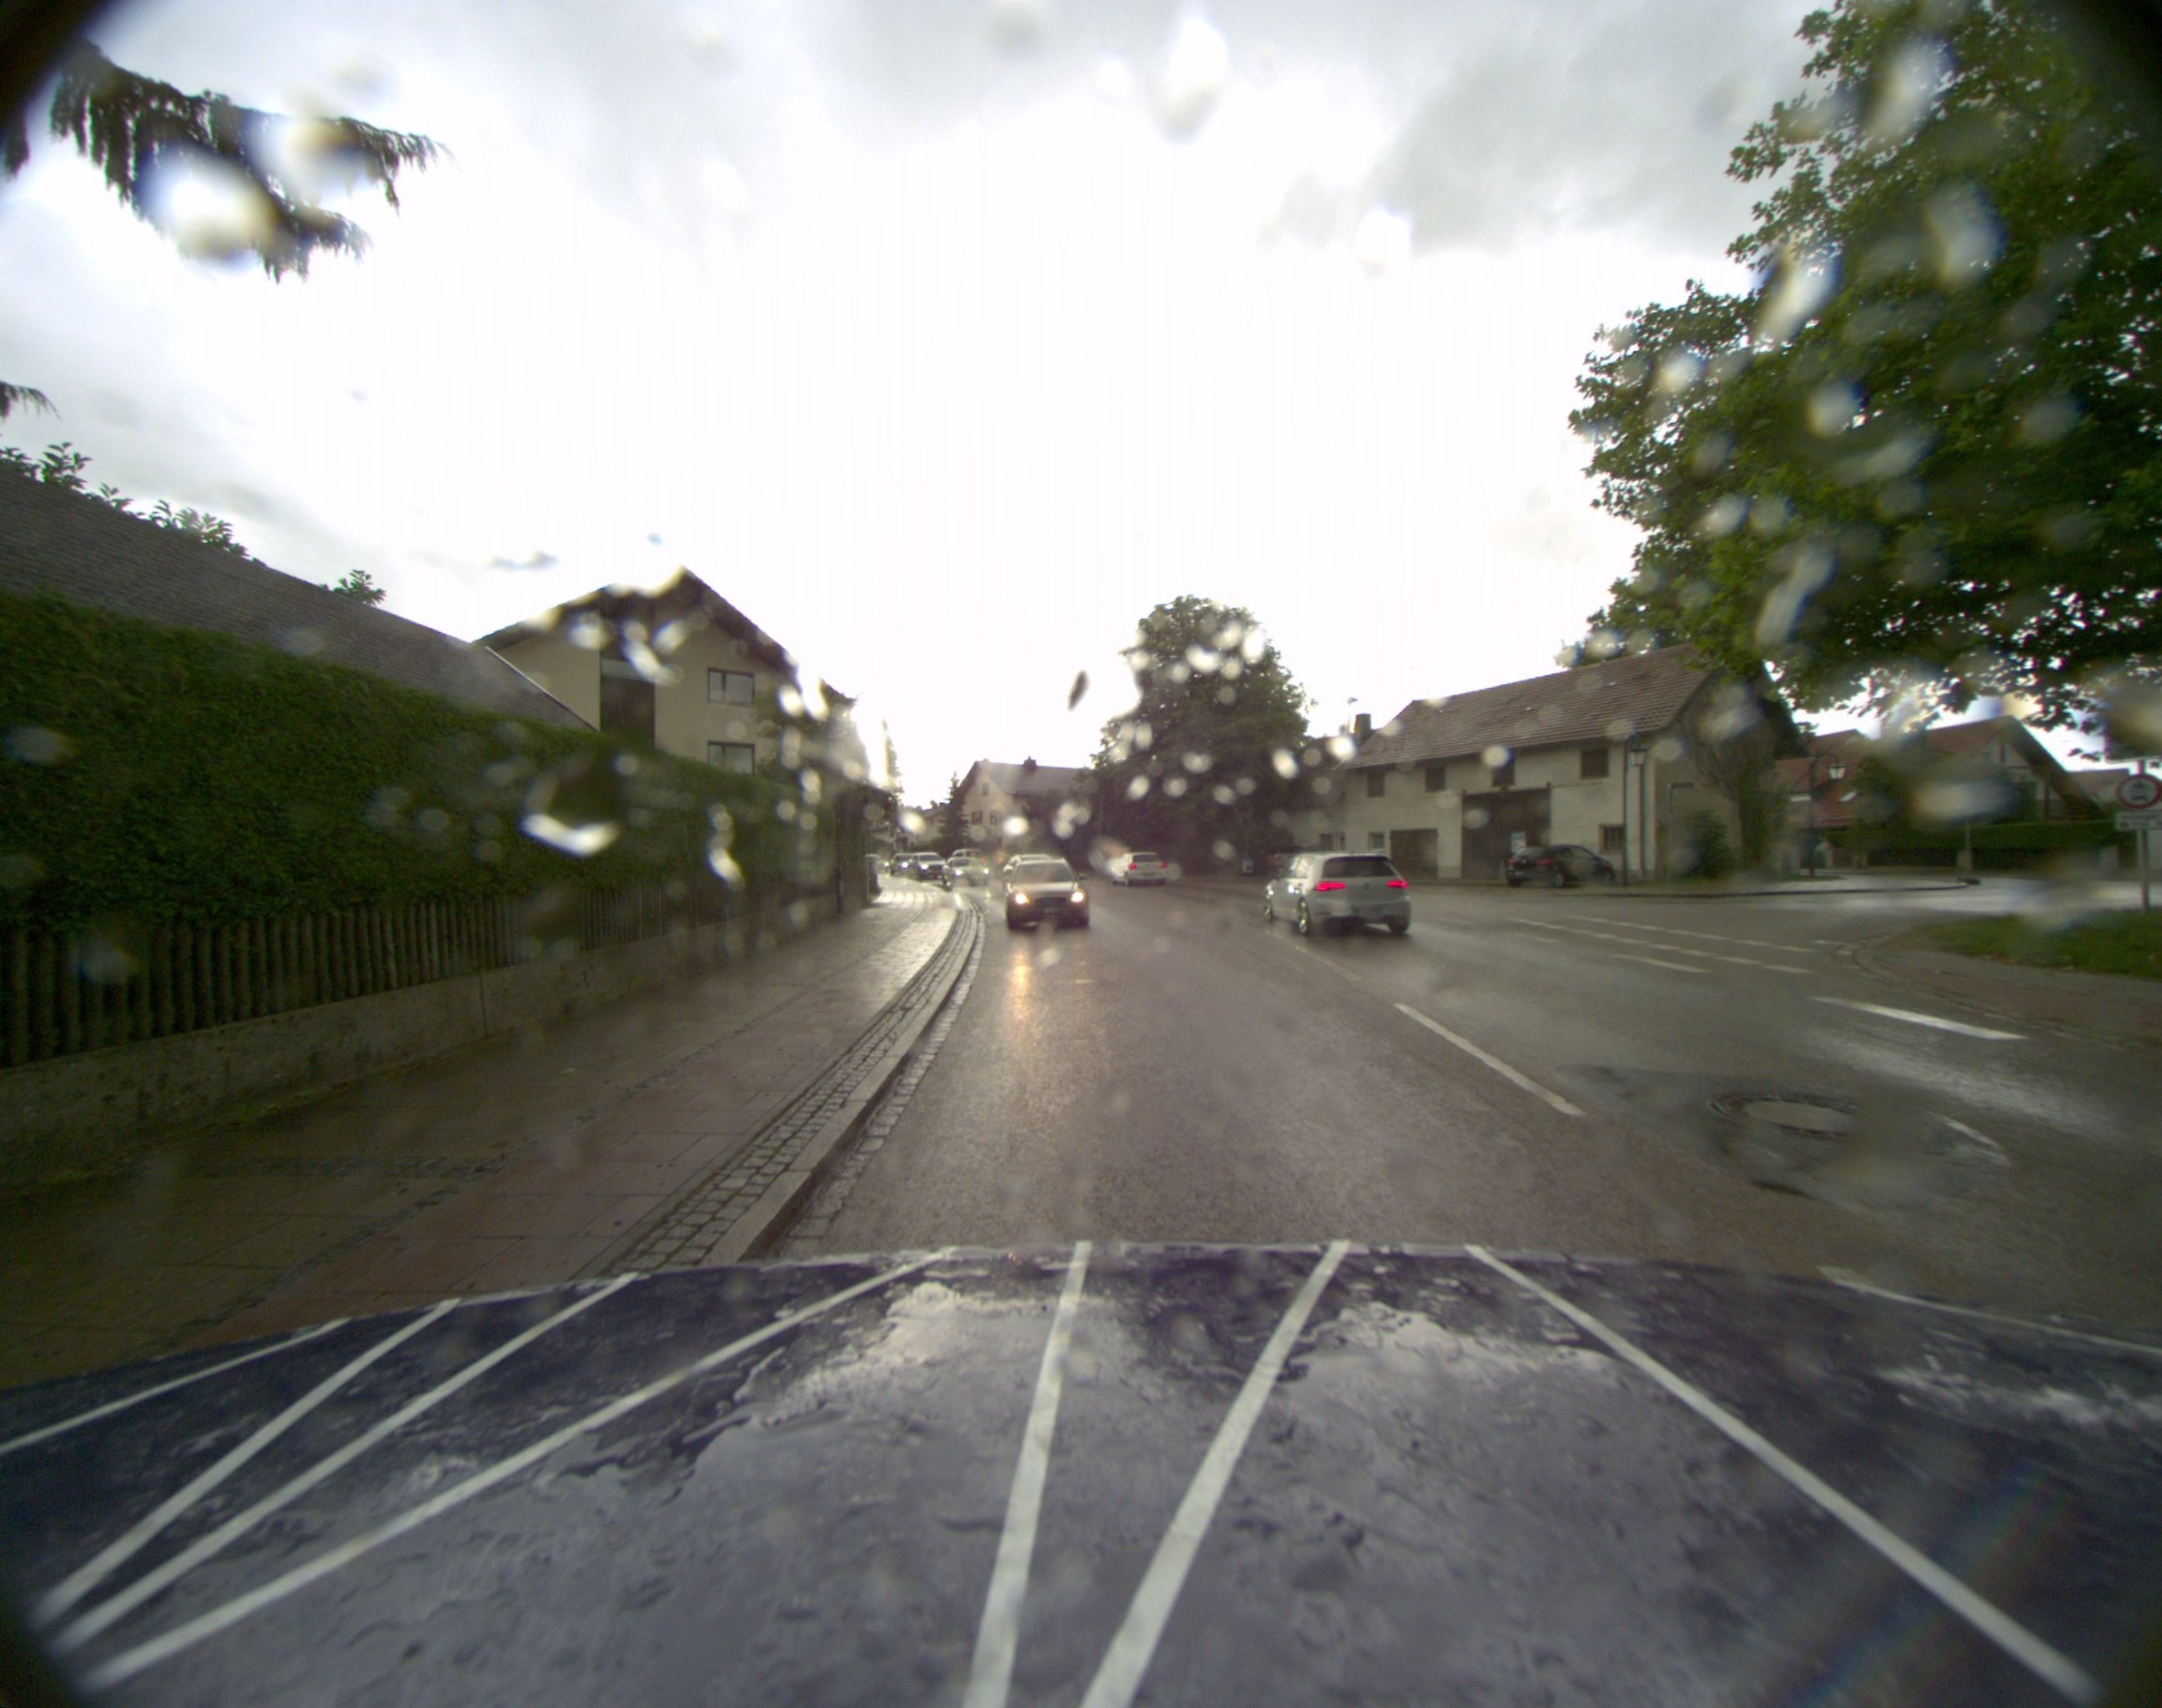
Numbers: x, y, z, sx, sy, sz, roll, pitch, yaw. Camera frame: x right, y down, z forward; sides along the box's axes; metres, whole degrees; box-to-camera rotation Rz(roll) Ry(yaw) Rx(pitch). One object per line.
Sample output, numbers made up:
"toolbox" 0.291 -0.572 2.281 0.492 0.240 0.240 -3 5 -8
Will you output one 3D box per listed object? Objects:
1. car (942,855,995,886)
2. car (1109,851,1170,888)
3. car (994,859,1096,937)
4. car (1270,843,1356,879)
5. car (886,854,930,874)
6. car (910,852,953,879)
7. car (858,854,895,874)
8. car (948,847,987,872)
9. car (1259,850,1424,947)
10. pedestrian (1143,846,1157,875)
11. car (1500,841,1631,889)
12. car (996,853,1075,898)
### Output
"car" -5.909 0.812 39.615 1.797 1.387 4.273 -3 1 -21
"car" 2.516 0.621 33.396 1.624 1.436 3.666 -2 1 -13
"car" -0.956 0.892 17.387 1.795 1.387 4.277 -3 1 -9
"car" 10.670 0.316 34.814 4.290 1.539 1.812 1 0 -42
"car" -12.748 0.736 55.799 1.798 1.365 4.271 -3 1 -32
"car" -9.698 0.713 48.934 1.797 1.539 4.272 -3 1 -23
"car" -17.211 0.816 63.922 1.798 1.539 4.271 -3 1 -32
"car" -8.700 0.373 57.802 1.647 1.755 4.321 -3 1 -26
"car" 4.667 0.709 14.249 1.721 1.434 3.999 -3 1 1
"pedestrian" 3.956 0.385 43.337 0.652 1.619 0.479 -1 1 18
"car" 16.395 0.328 25.678 4.287 1.428 1.817 -1 1 -27
"car" -1.875 0.760 29.336 1.796 1.471 5.377 -3 1 -16
